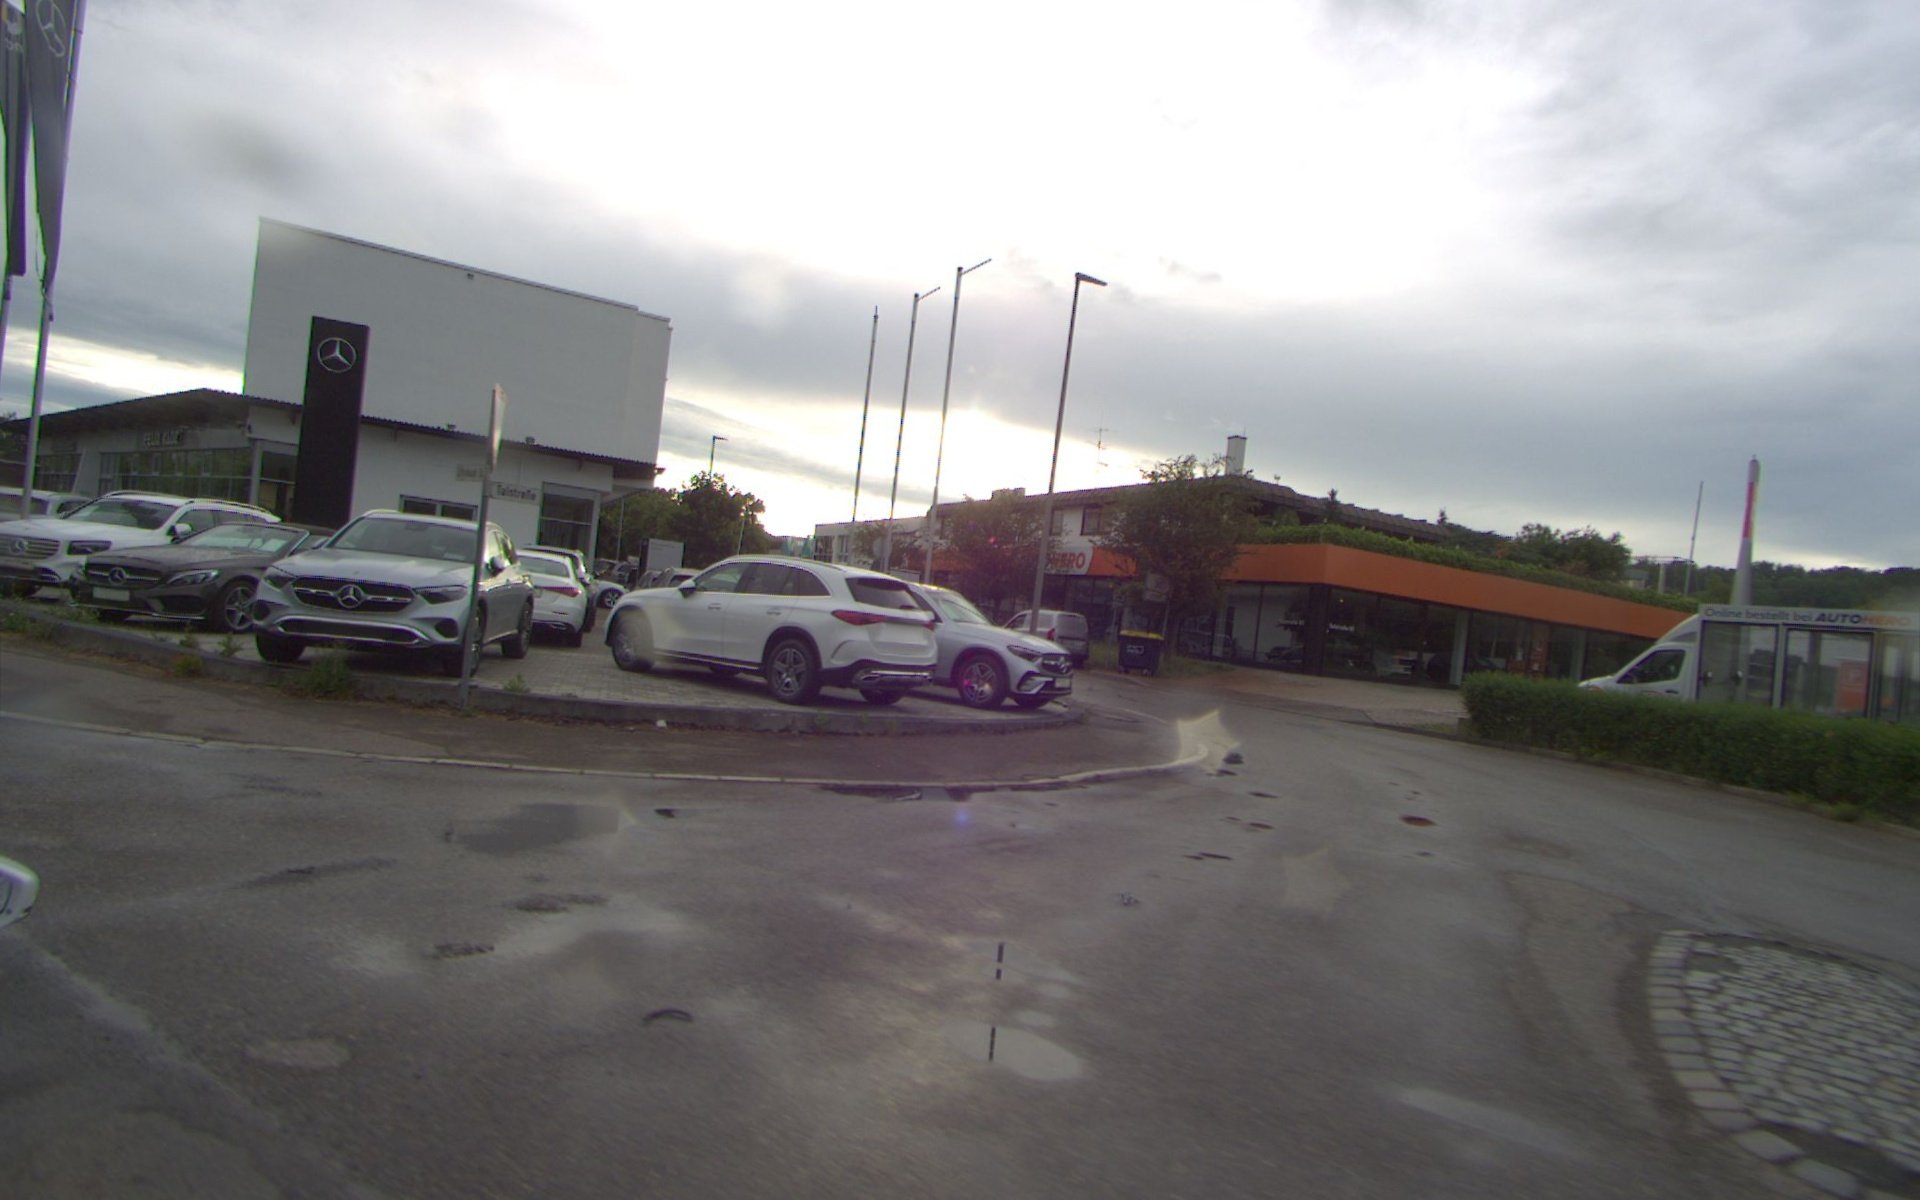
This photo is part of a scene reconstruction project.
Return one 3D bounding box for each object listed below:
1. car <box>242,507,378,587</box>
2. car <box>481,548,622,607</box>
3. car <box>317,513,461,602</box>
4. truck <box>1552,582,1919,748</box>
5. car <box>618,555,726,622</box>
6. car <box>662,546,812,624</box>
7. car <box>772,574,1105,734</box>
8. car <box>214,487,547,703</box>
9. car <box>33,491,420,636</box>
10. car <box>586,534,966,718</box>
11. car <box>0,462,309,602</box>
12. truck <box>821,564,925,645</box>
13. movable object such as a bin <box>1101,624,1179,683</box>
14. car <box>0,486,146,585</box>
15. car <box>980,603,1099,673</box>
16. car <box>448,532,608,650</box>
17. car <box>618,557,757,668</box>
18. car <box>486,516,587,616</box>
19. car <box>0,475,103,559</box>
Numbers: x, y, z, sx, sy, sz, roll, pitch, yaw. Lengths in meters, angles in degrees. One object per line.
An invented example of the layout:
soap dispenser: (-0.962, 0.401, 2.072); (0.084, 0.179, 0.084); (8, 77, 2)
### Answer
car: (-15.714, -1.268, 24.553); (1.877, 1.564, 3.980); (7, 0, -21)
car: (-14.343, -0.782, 35.323); (4.357, 1.460, 1.986); (7, 2, -26)
car: (-11.164, -0.749, 19.937); (1.655, 1.472, 3.912); (1, -1, -17)
truck: (16.652, 1.269, 19.459); (2.765, 2.652, 8.399); (9, -3, -34)
car: (-6.615, -0.237, 22.934); (1.456, 1.293, 2.951); (7, -3, -33)
car: (-5.924, -0.397, 26.940); (3.385, 1.571, 1.772); (8, 1, 7)
car: (-0.362, 0.748, 14.995); (4.428, 1.696, 2.025); (7, 0, 30)
car: (-6.000, -0.045, 11.094); (1.936, 1.691, 4.352); (7, -1, -15)
car: (-9.329, -0.393, 13.325); (1.817, 1.411, 4.142); (7, 0, 3)
car: (-2.427, 0.268, 12.680); (4.634, 1.693, 1.809); (7, -1, 34)
car: (-12.314, -0.920, 15.282); (1.892, 1.673, 4.426); (7, 0, -1)
truck: (-4.449, 0.181, 50.116); (2.542, 3.452, 6.609); (8, -2, -26)
movable object such as a bin: (5.739, 1.716, 31.832); (1.962, 1.504, 2.390); (7, -2, 18)
car: (-17.193, -1.233, 18.841); (1.706, 1.620, 3.797); (5, 1, -19)
car: (2.762, 1.302, 35.921); (1.815, 2.036, 4.416); (9, -2, -31)
car: (-7.336, -0.202, 16.816); (1.944, 1.517, 4.333); (7, -1, -29)
car: (-4.548, 0.129, 17.353); (1.742, 1.479, 4.115); (7, 1, -9)
car: (-9.045, -0.629, 21.693); (1.656, 1.739, 3.984); (8, -3, -21)
car: (-20.424, -1.799, 21.397); (1.816, 1.653, 4.346); (5, 1, -20)
